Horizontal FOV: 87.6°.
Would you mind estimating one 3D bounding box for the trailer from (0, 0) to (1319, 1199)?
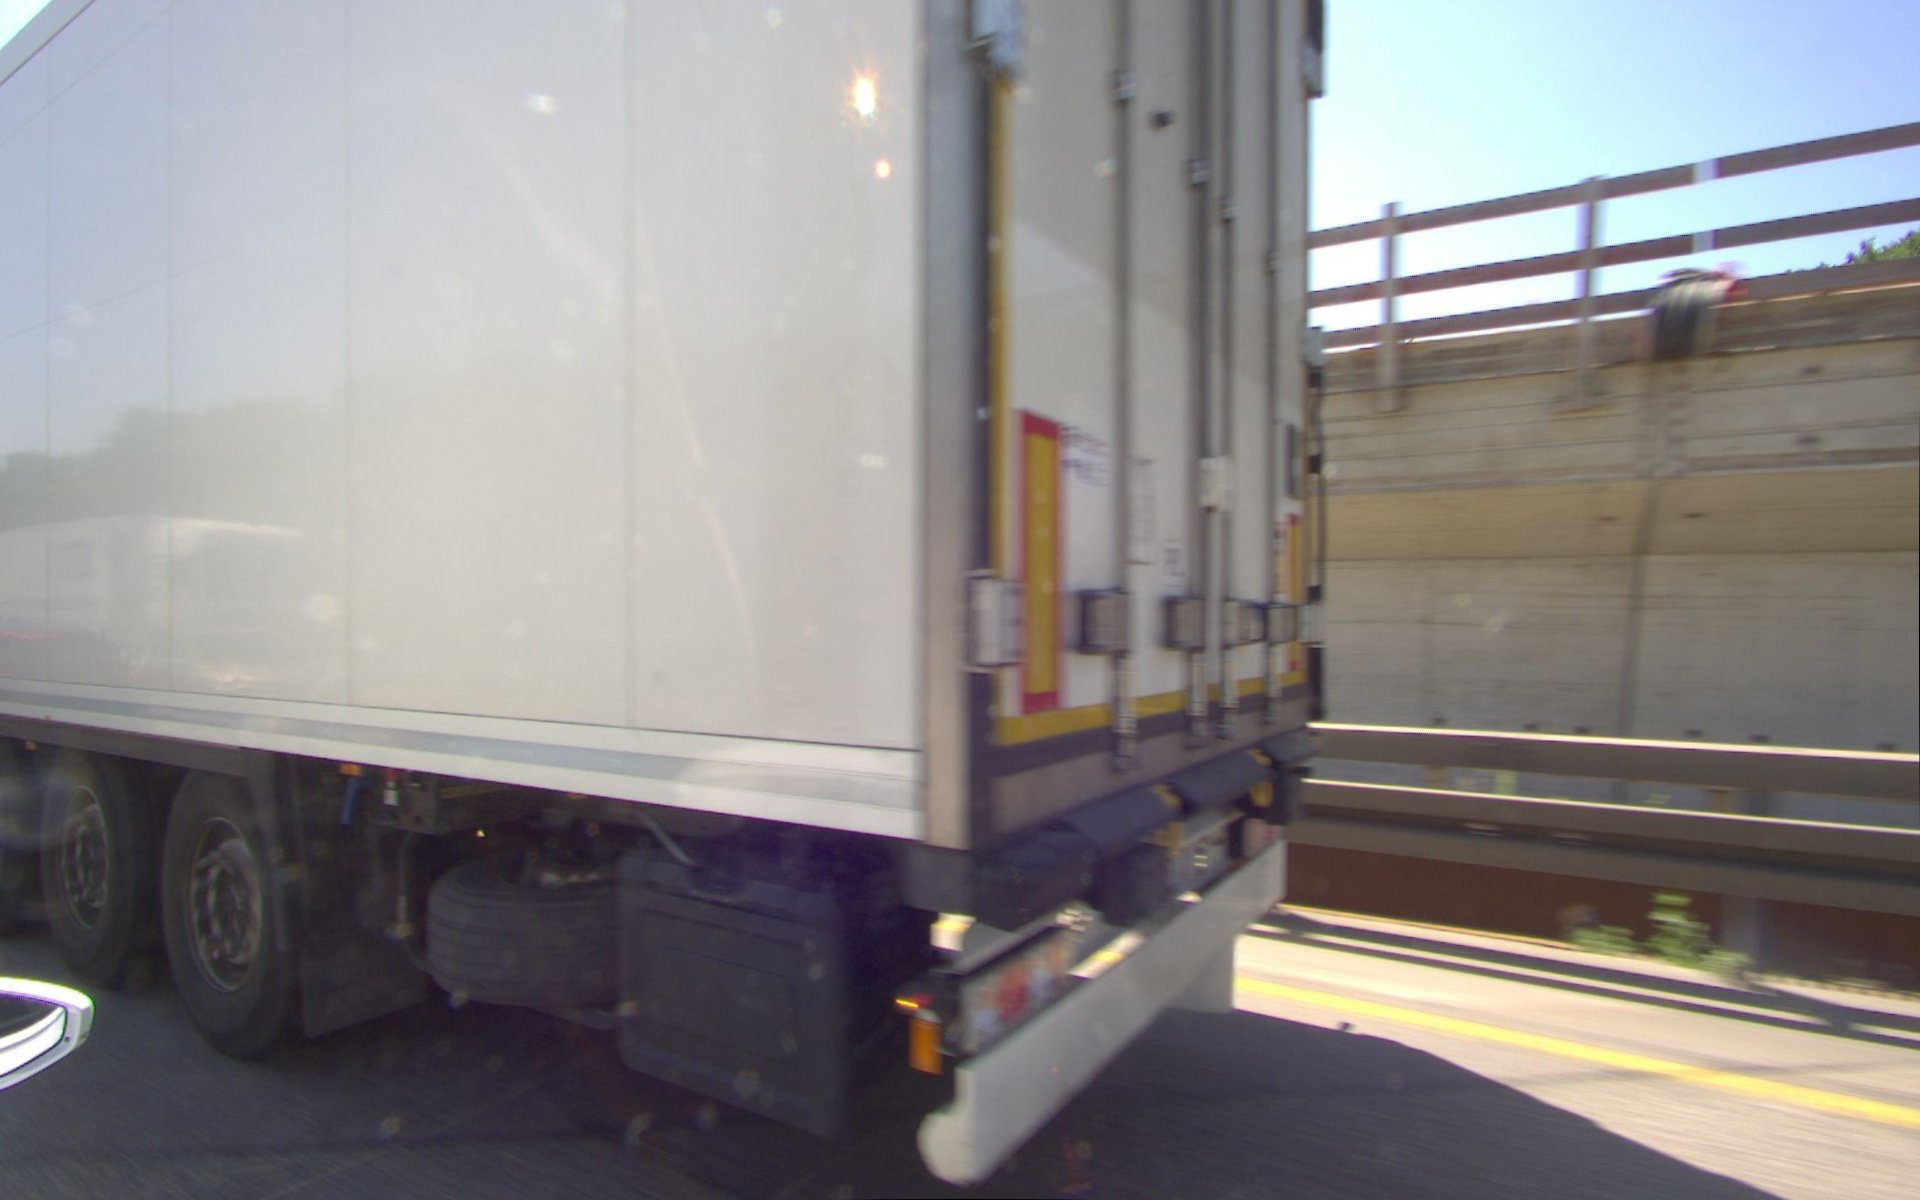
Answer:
[{"bbox_3d":[-4.112,-0.640,5.783,11.385,4.179,2.527,-1,-2,33],"label":"trailer"}]

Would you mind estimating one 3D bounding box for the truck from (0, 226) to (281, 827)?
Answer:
[{"bbox_3d":[-9.688,-0.403,9.356,8.121,4.076,2.509,-1,-2,33],"label":"truck"}]
